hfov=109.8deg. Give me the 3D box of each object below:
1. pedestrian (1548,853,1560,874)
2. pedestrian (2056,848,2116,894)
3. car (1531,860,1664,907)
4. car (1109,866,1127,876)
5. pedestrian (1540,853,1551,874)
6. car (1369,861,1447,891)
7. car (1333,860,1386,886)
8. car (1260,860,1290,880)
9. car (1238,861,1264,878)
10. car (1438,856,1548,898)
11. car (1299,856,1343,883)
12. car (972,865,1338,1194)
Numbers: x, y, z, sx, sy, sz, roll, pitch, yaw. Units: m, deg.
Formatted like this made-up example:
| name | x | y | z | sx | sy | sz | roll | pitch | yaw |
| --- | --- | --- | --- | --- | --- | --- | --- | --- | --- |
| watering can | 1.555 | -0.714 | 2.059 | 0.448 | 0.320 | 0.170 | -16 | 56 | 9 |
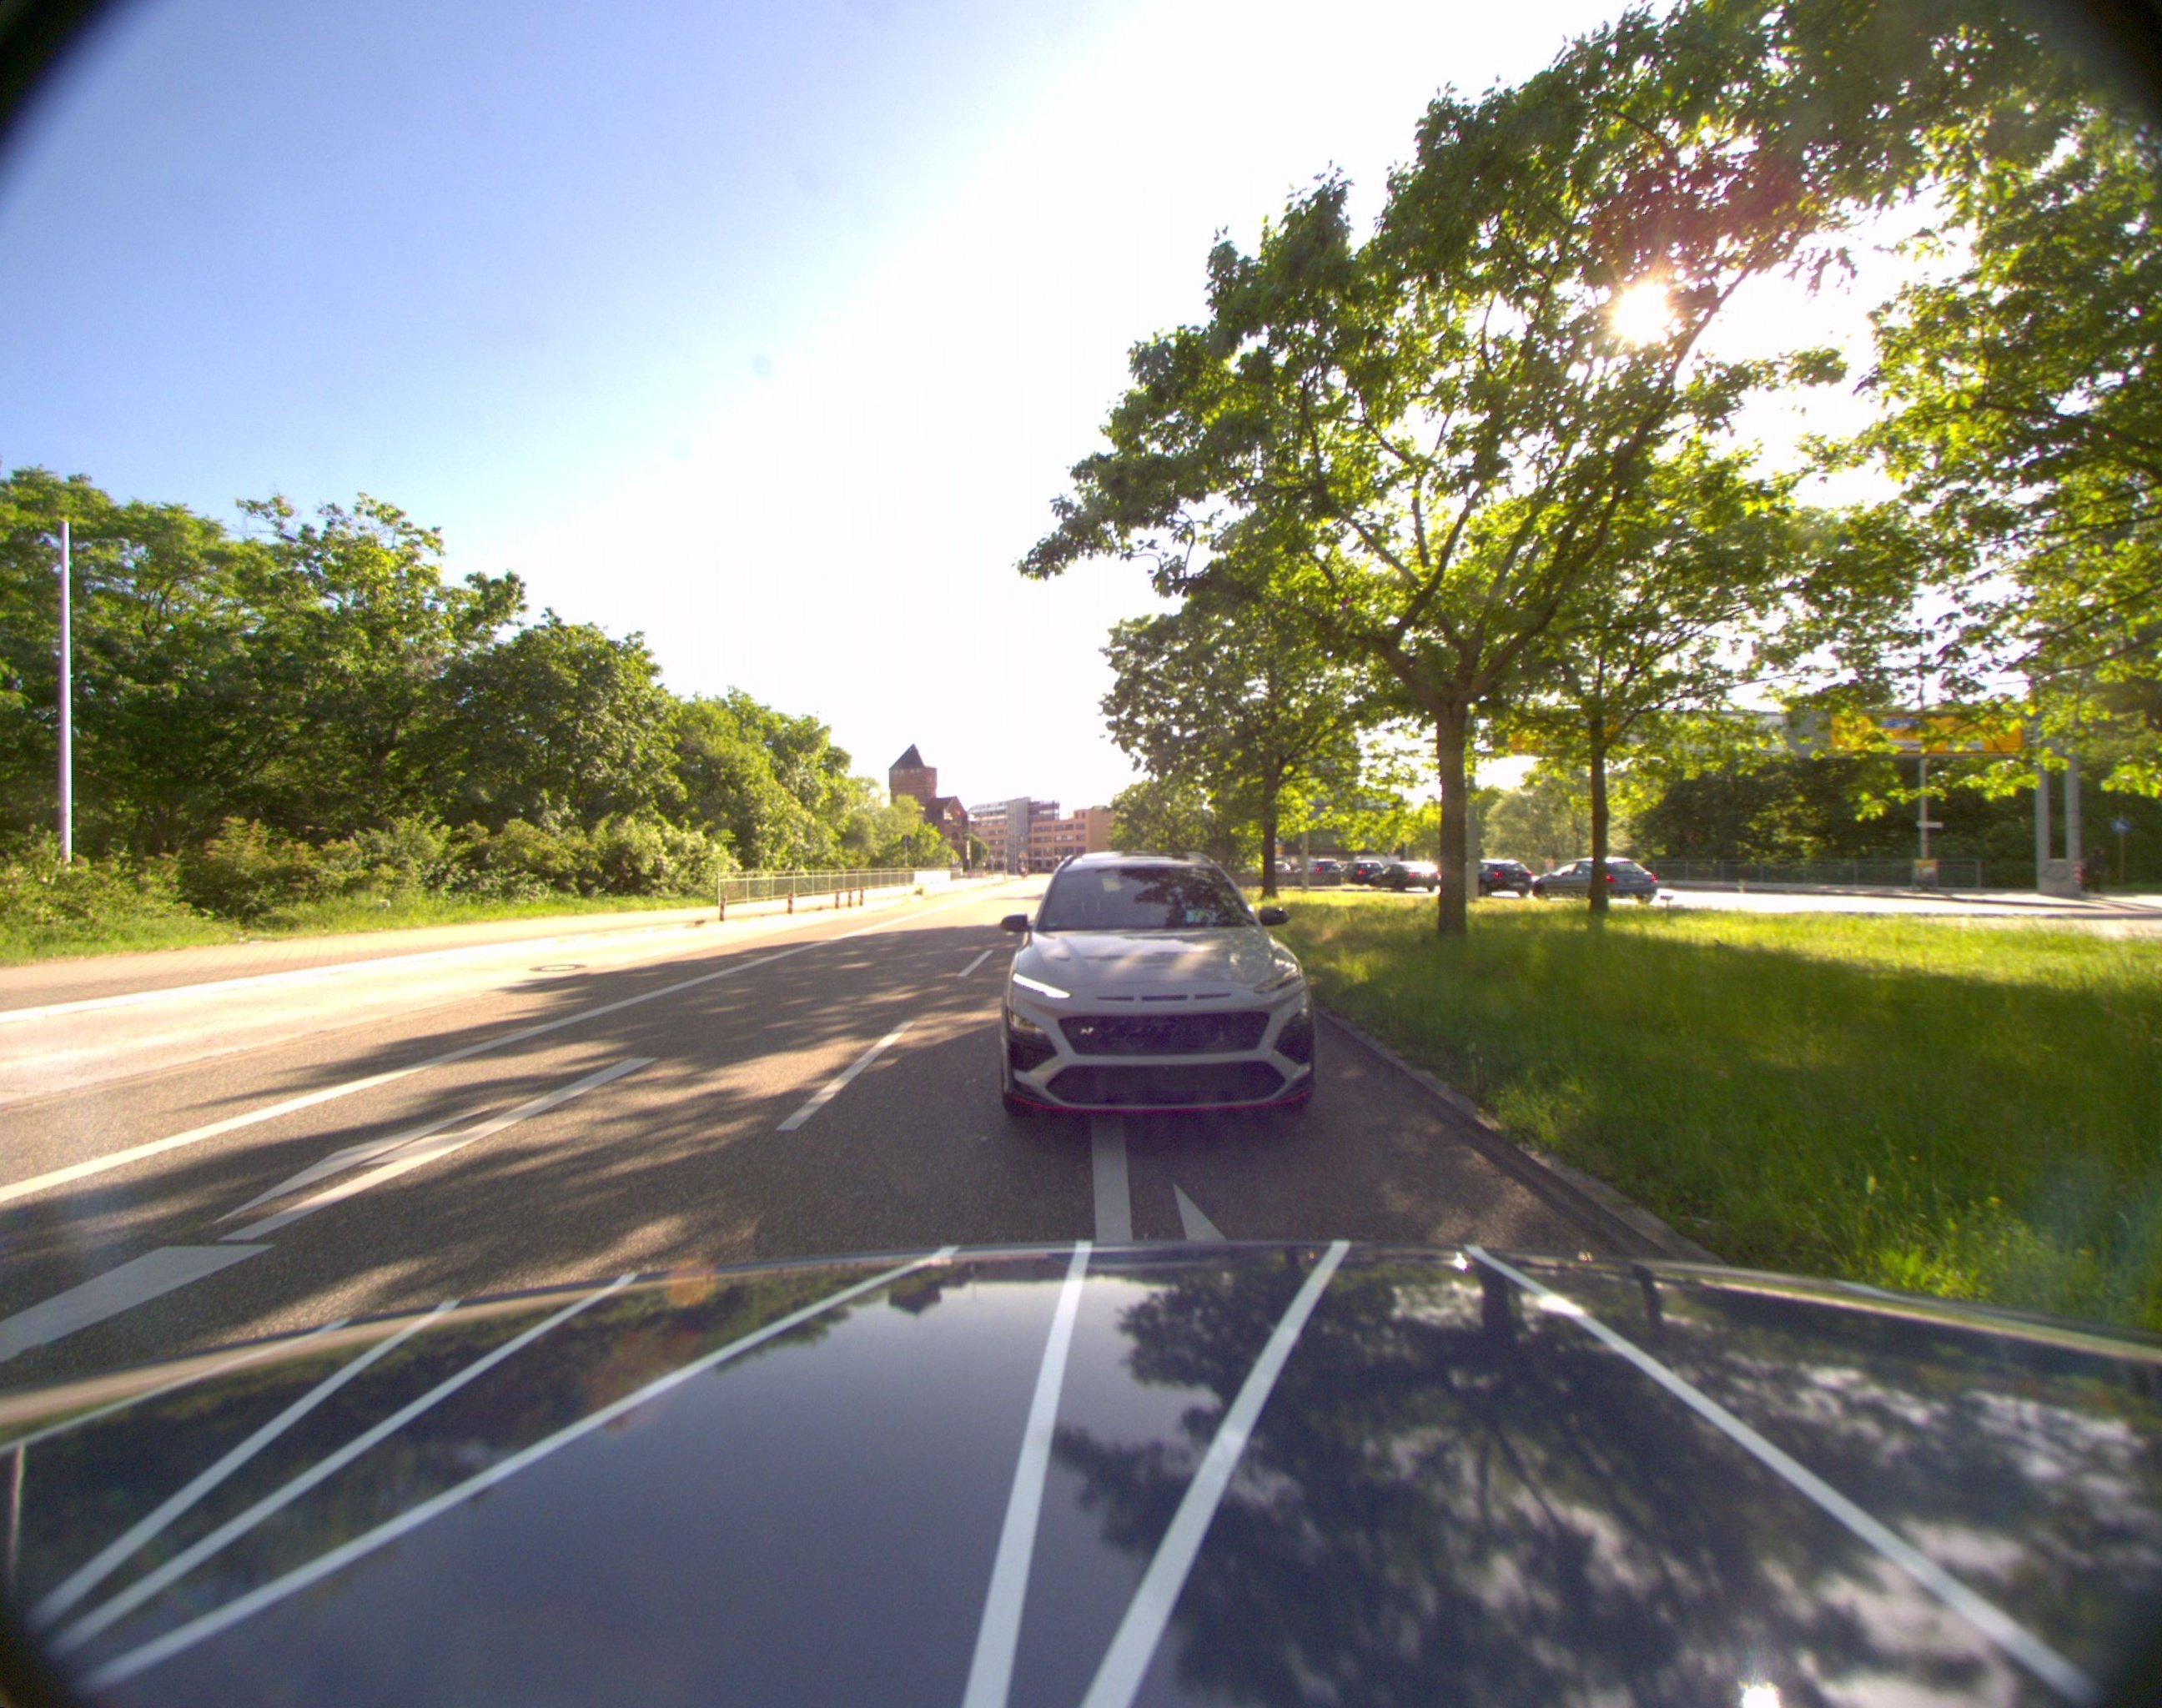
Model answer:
| name | x | y | z | sx | sy | sz | roll | pitch | yaw |
| --- | --- | --- | --- | --- | --- | --- | --- | --- | --- |
| pedestrian | 33.158 | 0.656 | 53.263 | 0.421 | 1.490 | 0.545 | -1 | 0 | -7 |
| pedestrian | 36.346 | 0.618 | 27.489 | 0.914 | 1.620 | 0.988 | -1 | 0 | -6 |
| car | 16.381 | 0.889 | 24.307 | 1.561 | 1.355 | 3.608 | -1 | -1 | -6 |
| car | 6.421 | 2.940 | 131.603 | 1.674 | 1.463 | 4.158 | 0 | 0 | 27 |
| pedestrian | 32.672 | 0.674 | 53.468 | 0.421 | 1.490 | 0.545 | -1 | 0 | -7 |
| car | 15.472 | 1.004 | 36.221 | 1.623 | 1.305 | 4.066 | -1 | 0 | -6 |
| car | 15.148 | 1.040 | 41.477 | 1.481 | 1.331 | 3.202 | -1 | -1 | -6 |
| car | 14.316 | 1.215 | 56.129 | 1.228 | 1.331 | 2.882 | -1 | -3 | -6 |
| car | 13.929 | 1.288 | 62.428 | 1.199 | 1.252 | 2.768 | -1 | -2 | -6 |
| car | 16.184 | 0.853 | 30.148 | 1.875 | 1.541 | 4.221 | -1 | 0 | -4 |
| car | 14.966 | 1.000 | 47.552 | 1.450 | 1.549 | 3.202 | -1 | -2 | -6 |
| car | 0.386 | 0.887 | 5.686 | 1.752 | 1.523 | 3.988 | -1 | 0 | 1 |
